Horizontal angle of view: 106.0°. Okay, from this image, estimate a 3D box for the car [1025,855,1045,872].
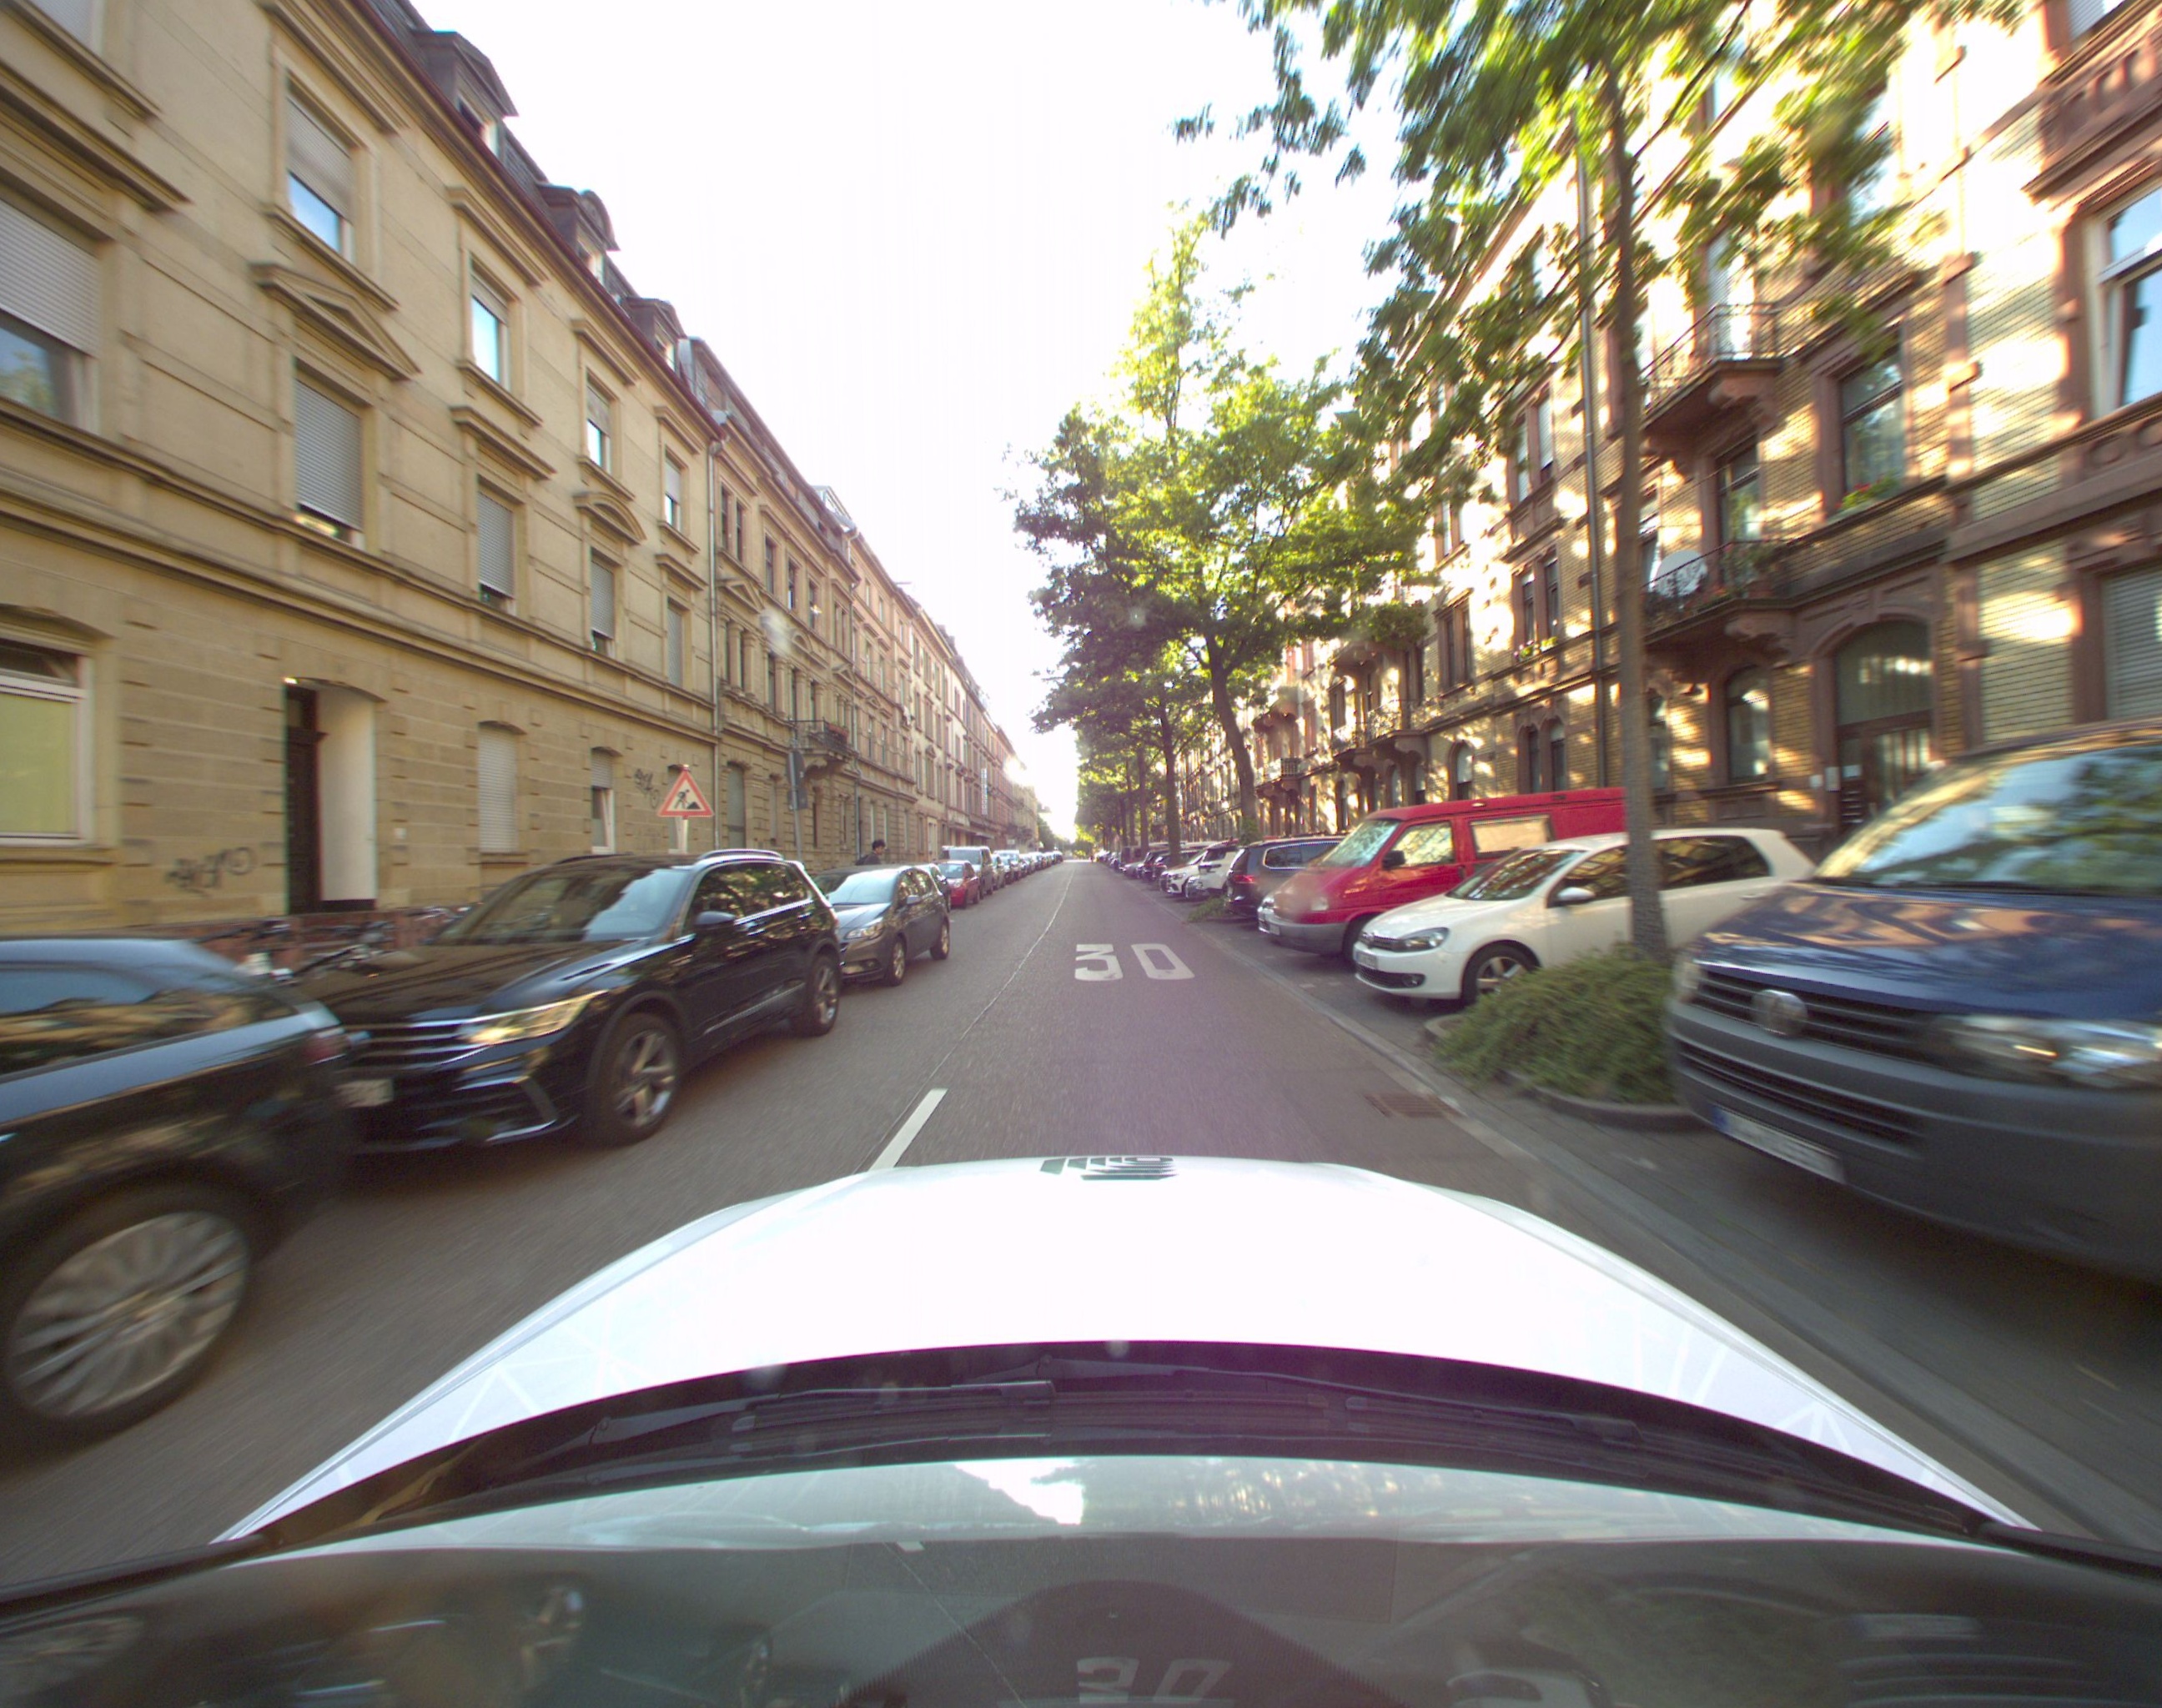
[{"bbox_3d":[-4.291,0.882,76.592,1.754,1.473,4.057,-2,0,-1],"label":"car"}]

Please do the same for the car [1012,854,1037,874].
[{"bbox_3d":[-4.550,0.797,65.570,1.754,1.473,4.057,-2,0,-1],"label":"car"}]

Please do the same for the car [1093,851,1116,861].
[{"bbox_3d":[4.114,0.353,142.694,3.839,1.573,1.717,-4,0,-1],"label":"car"}]

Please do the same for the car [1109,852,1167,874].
[{"bbox_3d":[4.046,0.624,57.976,3.842,1.293,1.716,-4,0,-4],"label":"car"}]

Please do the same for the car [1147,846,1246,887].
[{"bbox_3d":[4.973,0.530,35.442,3.998,1.467,1.733,-4,-1,-1],"label":"car"}]

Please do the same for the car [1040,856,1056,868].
[{"bbox_3d":[-4.390,1.119,109.232,1.988,1.486,3.998,-2,-2,-1],"label":"car"}]

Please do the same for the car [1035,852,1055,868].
[{"bbox_3d":[-3.945,0.671,89.109,1.988,1.486,3.998,-2,-2,-1],"label":"car"}]

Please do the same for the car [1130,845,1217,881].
[{"bbox_3d":[4.909,0.452,43.379,4.218,1.610,1.830,-4,0,-8],"label":"car"}]

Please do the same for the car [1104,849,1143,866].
[{"bbox_3d":[4.548,0.405,87.605,3.848,1.573,1.713,-4,0,-9],"label":"car"}]

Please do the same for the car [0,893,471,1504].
[{"bbox_3d":[-3.657,0.914,1.190,1.750,1.451,4.557,-3,-1,6],"label":"car"}]

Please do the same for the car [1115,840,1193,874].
[{"bbox_3d":[4.890,0.182,55.129,5.041,1.925,1.835,-4,0,-1],"label":"car"}]

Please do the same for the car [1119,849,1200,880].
[{"bbox_3d":[4.361,0.589,45.747,4.214,1.403,1.832,-4,0,-5],"label":"car"}]

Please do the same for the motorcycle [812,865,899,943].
[{"bbox_3d":[-4.402,0.928,16.163,1.063,1.370,2.604,-1,0,-2],"label":"motorcycle"}]

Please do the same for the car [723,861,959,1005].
[{"bbox_3d":[-2.999,0.907,11.149,1.751,1.501,4.063,-3,0,3],"label":"car"}]

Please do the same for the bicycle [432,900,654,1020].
[{"bbox_3d":[-5.382,1.048,8.200,1.861,1.128,0.528,0,-1,0],"label":"bicycle"}]

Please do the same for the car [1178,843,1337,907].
[{"bbox_3d":[4.892,0.577,22.936,3.999,1.434,1.794,-4,-1,-1],"label":"car"}]

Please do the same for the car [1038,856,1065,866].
[{"bbox_3d":[-4.361,1.027,119.563,1.974,1.486,4.025,-3,-2,32],"label":"car"}]

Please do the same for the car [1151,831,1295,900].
[{"bbox_3d":[4.789,0.362,27.871,4.434,1.924,1.848,-5,1,-3],"label":"car"}]

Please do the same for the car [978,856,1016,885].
[{"bbox_3d":[-4.532,0.859,44.616,1.753,1.467,3.998,0,0,-1],"label":"car"}]

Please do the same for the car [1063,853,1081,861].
[{"bbox_3d":[-2.007,0.756,188.467,3.965,1.859,1.755,-1,0,7],"label":"car"}]

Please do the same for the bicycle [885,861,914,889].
[{"bbox_3d":[-8.531,0.957,38.308,0.738,1.255,2.826,-1,0,-1],"label":"bicycle"}]

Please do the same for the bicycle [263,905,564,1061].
[{"bbox_3d":[-5.521,1.029,6.875,1.875,1.128,0.524,0,-1,-23],"label":"bicycle"}]

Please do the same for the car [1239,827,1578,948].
[{"bbox_3d":[5.094,0.515,13.180,4.658,1.514,1.879,-4,-1,1],"label":"car"}]

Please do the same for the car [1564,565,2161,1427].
[{"bbox_3d":[4.959,0.301,3.107,5.004,2.215,1.992,-2,-1,0],"label":"car"}]

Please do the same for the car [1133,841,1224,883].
[{"bbox_3d":[4.825,0.393,40.674,4.209,1.776,1.834,-4,0,-2],"label":"car"}]

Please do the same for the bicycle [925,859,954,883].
[{"bbox_3d":[-8.202,0.961,47.333,1.038,1.318,3.998,-1,0,-1],"label":"bicycle"}]

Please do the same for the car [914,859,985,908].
[{"bbox_3d":[-4.225,0.905,26.634,1.586,1.475,3.701,0,0,2],"label":"car"}]

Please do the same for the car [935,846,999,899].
[{"bbox_3d":[-4.419,0.664,32.326,1.826,1.943,5.259,0,0,0],"label":"car"}]

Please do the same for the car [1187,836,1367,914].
[{"bbox_3d":[4.828,0.507,20.483,4.000,1.628,1.804,-4,-1,-2],"label":"car"}]

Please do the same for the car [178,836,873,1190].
[{"bbox_3d":[-3.210,0.747,6.089,1.750,1.600,4.556,-3,0,4],"label":"car"}]

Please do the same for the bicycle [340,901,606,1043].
[{"bbox_3d":[-5.484,1.027,7.484,1.875,1.128,0.524,0,-1,-23],"label":"bicycle"}]

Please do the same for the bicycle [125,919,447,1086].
[{"bbox_3d":[-5.776,1.060,5.968,1.860,1.128,0.529,0,-1,2],"label":"bicycle"}]

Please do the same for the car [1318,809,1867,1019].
[{"bbox_3d":[4.610,0.511,7.826,4.042,1.510,1.878,-4,-1,-1],"label":"car"}]

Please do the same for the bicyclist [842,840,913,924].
[{"bbox_3d":[-4.604,0.608,18.414,1.212,1.789,0.988,-3,0,-34],"label":"bicyclist"}]

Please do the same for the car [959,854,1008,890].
[{"bbox_3d":[-4.511,0.804,38.156,1.748,1.608,4.383,0,0,0],"label":"car"}]

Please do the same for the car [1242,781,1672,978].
[{"bbox_3d":[4.690,0.296,10.602,4.665,2.033,1.876,-4,-1,-4],"label":"car"}]

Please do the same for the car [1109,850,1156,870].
[{"bbox_3d":[4.426,0.491,70.312,3.842,1.479,1.716,-4,0,-4],"label":"car"}]

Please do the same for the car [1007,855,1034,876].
[{"bbox_3d":[-4.459,0.836,60.702,1.754,1.473,4.057,-2,0,-1],"label":"car"}]

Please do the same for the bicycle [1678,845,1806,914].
[{"bbox_3d":[10.188,0.368,12.641,0.403,0.962,1.867,-5,0,0],"label":"bicycle"}]

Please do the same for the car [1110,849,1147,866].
[{"bbox_3d":[5.232,0.417,90.017,3.848,1.573,1.713,-4,0,-9],"label":"car"}]

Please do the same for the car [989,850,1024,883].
[{"bbox_3d":[-4.490,0.705,49.550,1.754,1.842,4.527,-2,0,-1],"label":"car"}]

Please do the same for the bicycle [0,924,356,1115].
[{"bbox_3d":[-5.865,1.044,5.291,1.860,1.128,0.529,0,-1,2],"label":"bicycle"}]

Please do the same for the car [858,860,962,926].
[{"bbox_3d":[-4.509,0.980,22.089,1.751,1.501,4.062,-3,0,2],"label":"car"}]

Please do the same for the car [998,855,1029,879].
[{"bbox_3d":[-4.493,0.846,54.601,1.754,1.473,4.057,-2,0,-1],"label":"car"}]

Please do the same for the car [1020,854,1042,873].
[{"bbox_3d":[-4.392,0.817,71.823,1.754,1.473,4.057,-2,0,-1],"label":"car"}]

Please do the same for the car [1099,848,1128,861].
[{"bbox_3d":[4.493,0.028,112.396,3.839,1.573,1.717,-4,0,-1],"label":"car"}]

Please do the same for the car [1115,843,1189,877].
[{"bbox_3d":[4.481,0.381,51.387,4.235,1.795,1.823,-4,0,-20],"label":"car"}]

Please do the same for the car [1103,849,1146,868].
[{"bbox_3d":[4.262,0.448,80.266,3.848,1.573,1.713,-4,0,-9],"label":"car"}]

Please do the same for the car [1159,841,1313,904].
[{"bbox_3d":[4.737,0.542,25.306,4.332,1.556,1.849,-5,1,-1],"label":"car"}]

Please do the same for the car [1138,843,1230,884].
[{"bbox_3d":[4.737,0.460,37.944,3.998,1.607,1.733,-4,-1,-1],"label":"car"}]

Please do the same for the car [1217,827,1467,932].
[{"bbox_3d":[4.861,0.472,15.632,4.169,1.628,1.839,-4,-1,3],"label":"car"}]
